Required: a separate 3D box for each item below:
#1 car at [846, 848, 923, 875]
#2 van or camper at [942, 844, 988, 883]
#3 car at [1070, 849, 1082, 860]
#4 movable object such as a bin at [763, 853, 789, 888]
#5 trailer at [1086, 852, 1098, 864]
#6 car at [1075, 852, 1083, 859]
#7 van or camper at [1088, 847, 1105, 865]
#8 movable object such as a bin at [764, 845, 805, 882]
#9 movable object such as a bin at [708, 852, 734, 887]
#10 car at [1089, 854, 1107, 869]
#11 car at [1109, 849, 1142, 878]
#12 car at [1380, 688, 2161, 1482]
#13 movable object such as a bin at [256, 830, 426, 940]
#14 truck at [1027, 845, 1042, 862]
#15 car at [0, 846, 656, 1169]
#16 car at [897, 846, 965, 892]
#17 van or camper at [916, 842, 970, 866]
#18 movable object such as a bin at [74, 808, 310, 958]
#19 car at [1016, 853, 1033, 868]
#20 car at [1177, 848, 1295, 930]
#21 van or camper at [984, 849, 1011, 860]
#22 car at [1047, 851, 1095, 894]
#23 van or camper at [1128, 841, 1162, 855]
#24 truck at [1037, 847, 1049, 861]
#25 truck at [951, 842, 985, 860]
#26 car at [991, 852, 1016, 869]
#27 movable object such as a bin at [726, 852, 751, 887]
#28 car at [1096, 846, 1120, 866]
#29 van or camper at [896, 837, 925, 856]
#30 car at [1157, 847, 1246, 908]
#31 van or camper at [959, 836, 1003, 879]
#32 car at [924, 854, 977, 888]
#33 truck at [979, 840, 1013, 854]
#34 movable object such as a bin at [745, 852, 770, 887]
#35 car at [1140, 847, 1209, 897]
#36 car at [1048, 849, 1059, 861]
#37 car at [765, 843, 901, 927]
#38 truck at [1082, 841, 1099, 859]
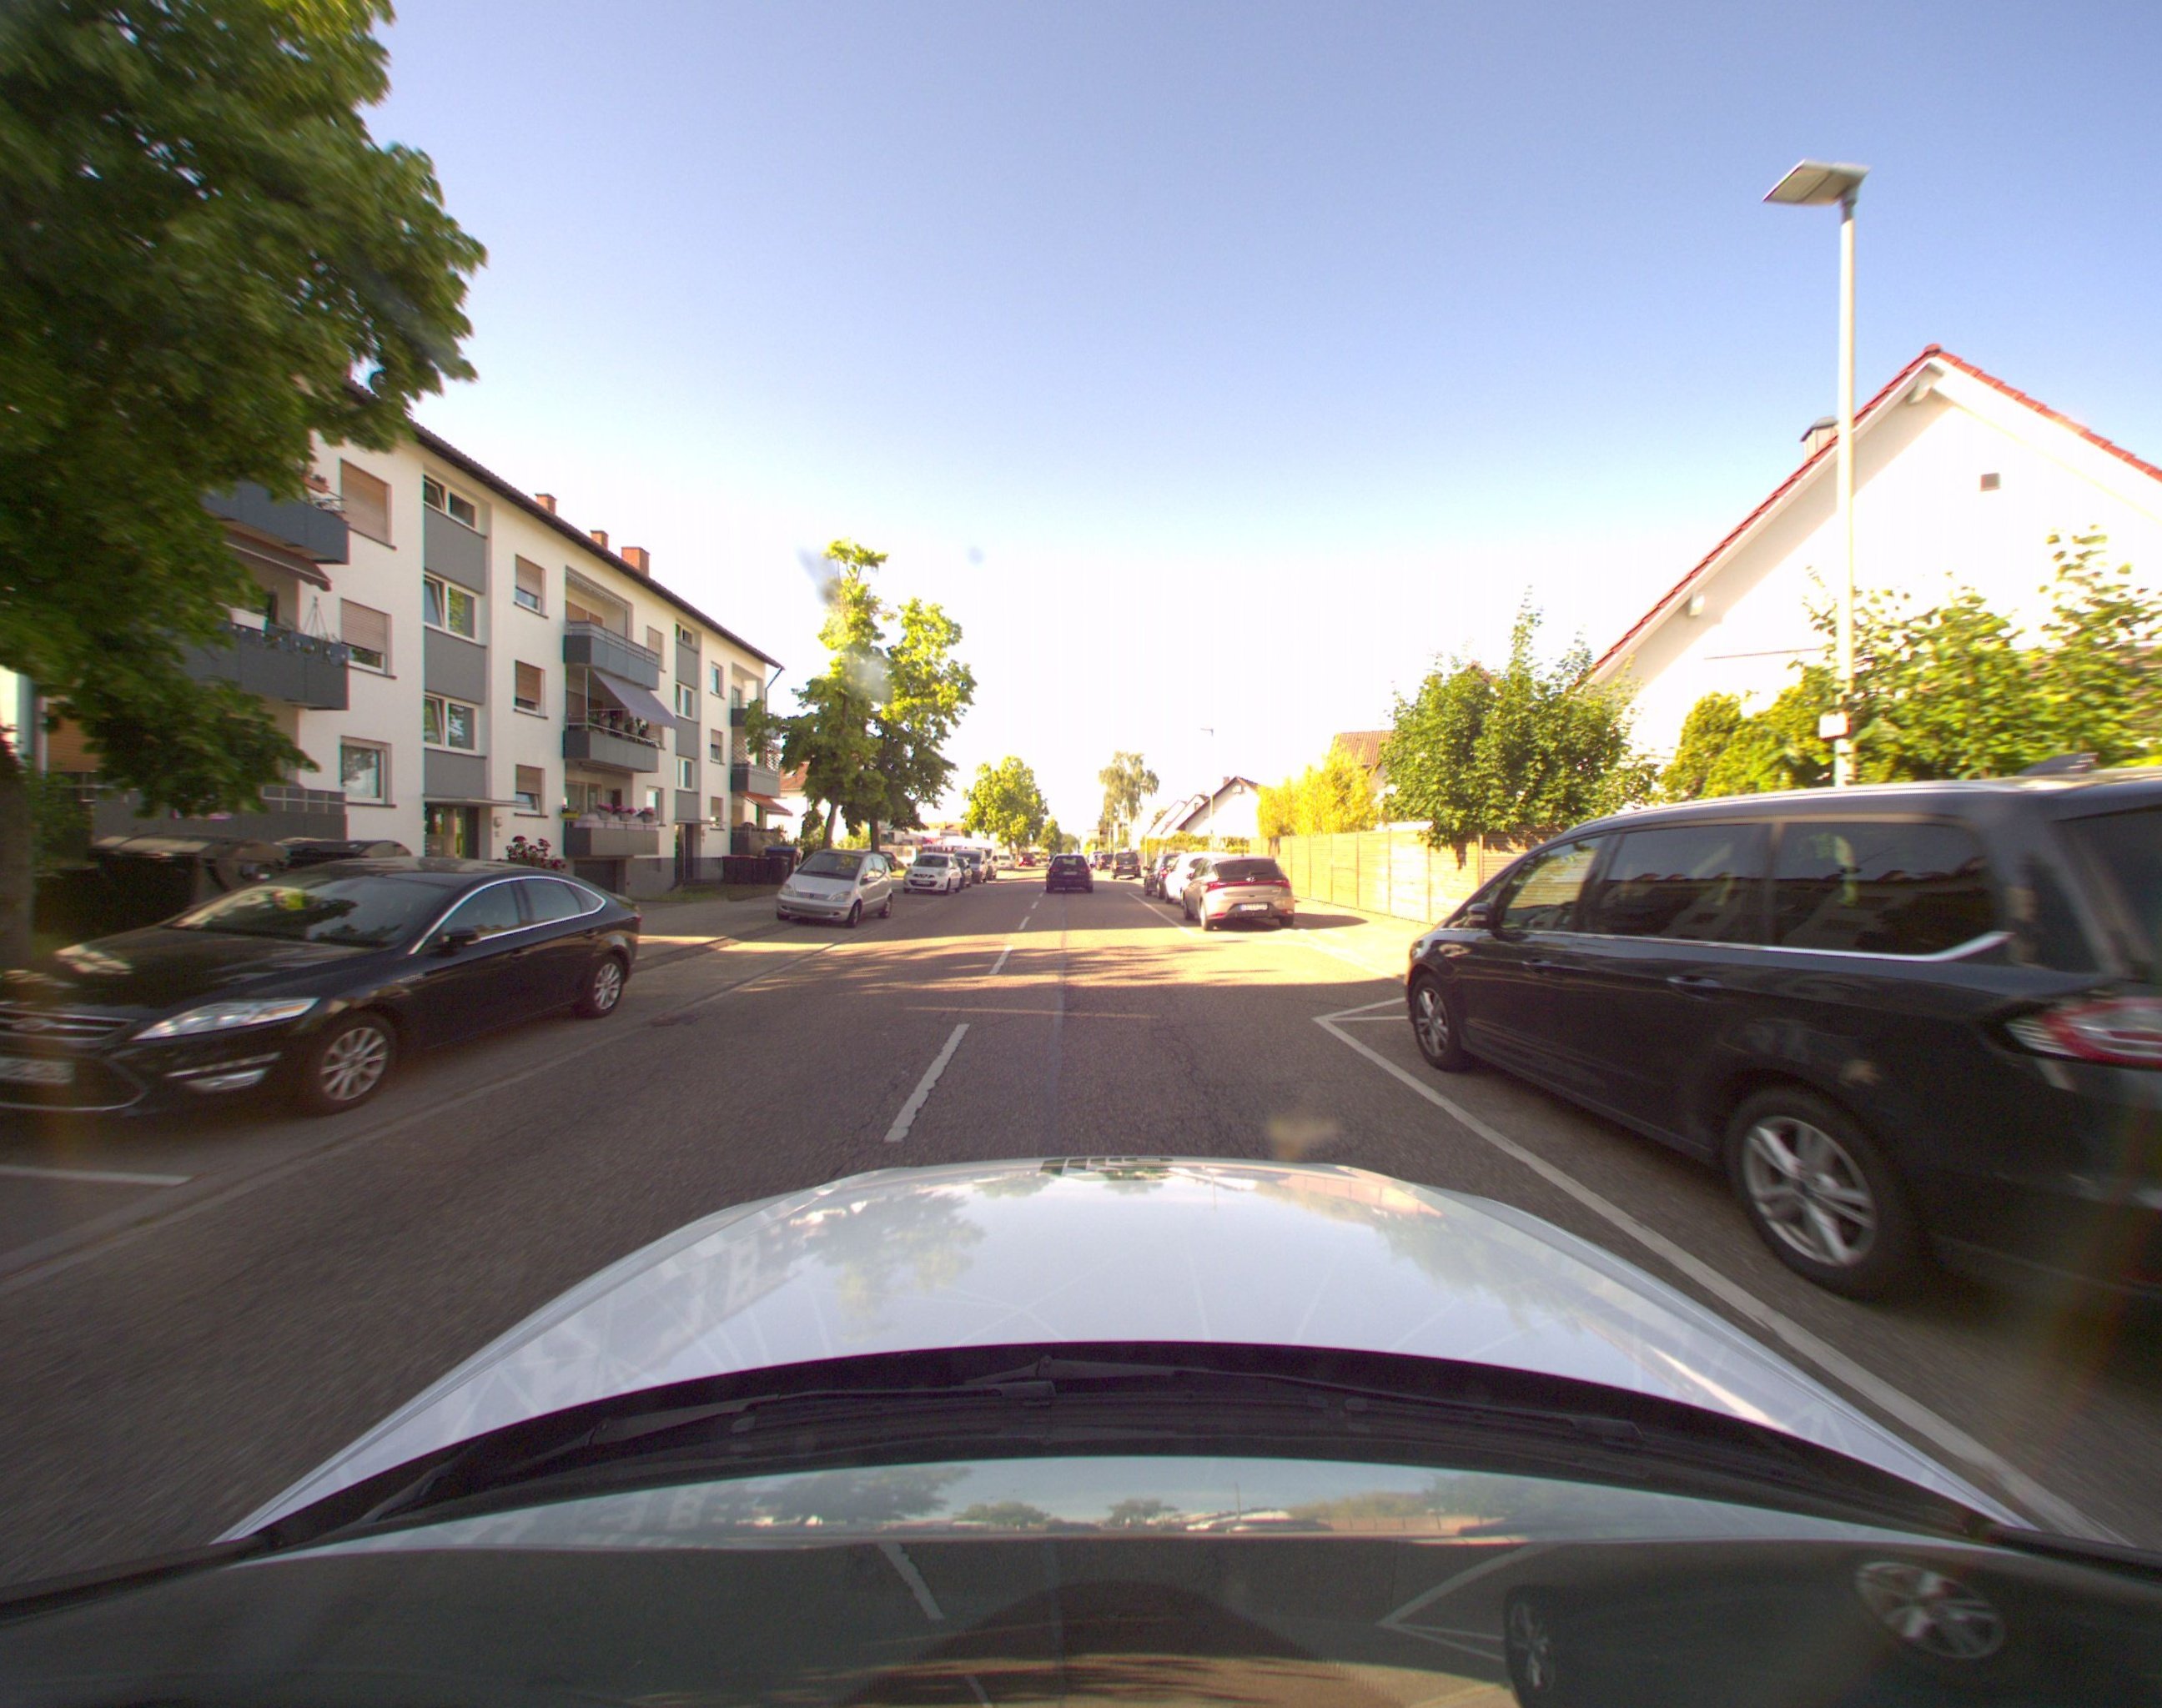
[{"bbox_3d":[-11.576,0.404,48.215,1.594,1.513,4.415,0,0,39],"label":"car"},{"bbox_3d":[-6.169,0.480,43.787,1.872,2.013,4.278,0,0,0],"label":"van or camper"},{"bbox_3d":[-0.731,0.065,124.547,1.813,1.670,3.643,-1,-1,0],"label":"car"},{"bbox_3d":[-11.260,0.593,30.057,0.684,1.279,0.672,0,0,1],"label":"movable object such as a bin"},{"bbox_3d":[1.481,0.525,111.525,1.622,1.538,3.198,0,0,0],"label":"trailer"},{"bbox_3d":[-0.498,0.403,215.585,1.913,1.825,4.078,0,0,-1],"label":"car"},{"bbox_3d":[1.687,0.221,89.256,1.713,1.890,4.178,0,0,-1],"label":"van or camper"},{"bbox_3d":[-12.087,0.368,33.249,1.227,1.482,1.116,0,0,1],"label":"movable object such as a bin"},{"bbox_3d":[-13.289,0.577,30.046,0.636,1.279,0.672,0,0,1],"label":"movable object such as a bin"},{"bbox_3d":[1.708,0.727,83.205,1.713,1.505,3.562,0,0,-1],"label":"car"},{"bbox_3d":[2.690,0.542,49.907,1.770,1.659,4.303,0,0,0],"label":"car"},{"bbox_3d":[3.252,0.508,4.114,1.738,1.813,4.426,-1,0,-2],"label":"car"},{"bbox_3d":[-10.928,0.429,12.102,1.286,1.543,1.327,0,0,1],"label":"movable object such as a bin"},{"bbox_3d":[-8.333,-0.070,145.723,2.396,2.983,7.239,2,0,-2],"label":"truck"},{"bbox_3d":[-5.359,0.771,6.365,1.718,1.493,4.539,5,0,-2],"label":"car"},{"bbox_3d":[-5.628,0.523,31.071,1.686,1.566,3.908,3,0,2],"label":"car"},{"bbox_3d":[-13.971,-0.003,82.801,4.860,2.320,2.251,0,-1,11],"label":"van or camper"},{"bbox_3d":[-10.498,0.320,9.703,1.408,1.662,1.267,0,0,1],"label":"movable object such as a bin"},{"bbox_3d":[-6.842,0.754,99.239,1.798,1.752,4.340,2,0,-1],"label":"car"},{"bbox_3d":[3.114,0.644,17.086,1.638,1.494,3.886,-1,0,-2],"label":"car"},{"bbox_3d":[-15.321,0.113,150.105,4.521,2.013,2.254,0,0,5],"label":"van or camper"},{"bbox_3d":[-0.354,0.657,31.457,1.706,1.532,3.687,-1,0,0],"label":"car"},{"bbox_3d":[11.697,-1.032,148.650,5.847,2.541,2.269,0,0,-28],"label":"van or camper"},{"bbox_3d":[-8.192,-0.053,177.137,2.395,2.983,6.371,2,0,-1],"label":"truck"},{"bbox_3d":[-20.949,-0.526,150.931,5.634,3.119,2.530,1,0,10],"label":"truck"},{"bbox_3d":[-6.826,0.555,72.176,1.681,1.435,4.209,2,0,1],"label":"car"},{"bbox_3d":[-12.631,0.565,30.060,0.636,1.279,0.672,0,0,1],"label":"movable object such as a bin"},{"bbox_3d":[2.283,0.177,69.386,1.772,1.659,3.812,0,0,-3],"label":"car"},{"bbox_3d":[-25.709,-1.115,123.155,2.152,2.715,6.286,0,0,10],"label":"van or camper"},{"bbox_3d":[3.376,0.613,23.432,1.721,1.601,3.810,0,0,-5],"label":"car"},{"bbox_3d":[-6.240,0.193,51.311,2.117,2.490,5.551,3,0,-2],"label":"van or camper"},{"bbox_3d":[-5.903,0.737,37.311,1.603,1.435,4.315,1,0,2],"label":"car"},{"bbox_3d":[-16.023,-1.274,153.613,5.885,2.567,2.230,1,0,10],"label":"truck"},{"bbox_3d":[-11.944,0.551,30.062,0.636,1.279,0.672,0,0,1],"label":"movable object such as a bin"},{"bbox_3d":[3.152,0.576,28.000,1.654,1.601,3.810,0,0,-5],"label":"car"},{"bbox_3d":[-5.113,0.212,151.163,1.888,2.031,4.816,-2,0,-1],"label":"car"},{"bbox_3d":[-5.563,0.642,18.782,1.716,1.593,3.909,5,0,1],"label":"car"},{"bbox_3d":[1.547,-0.615,135.680,2.396,2.936,7.012,-2,0,-1],"label":"truck"}]
